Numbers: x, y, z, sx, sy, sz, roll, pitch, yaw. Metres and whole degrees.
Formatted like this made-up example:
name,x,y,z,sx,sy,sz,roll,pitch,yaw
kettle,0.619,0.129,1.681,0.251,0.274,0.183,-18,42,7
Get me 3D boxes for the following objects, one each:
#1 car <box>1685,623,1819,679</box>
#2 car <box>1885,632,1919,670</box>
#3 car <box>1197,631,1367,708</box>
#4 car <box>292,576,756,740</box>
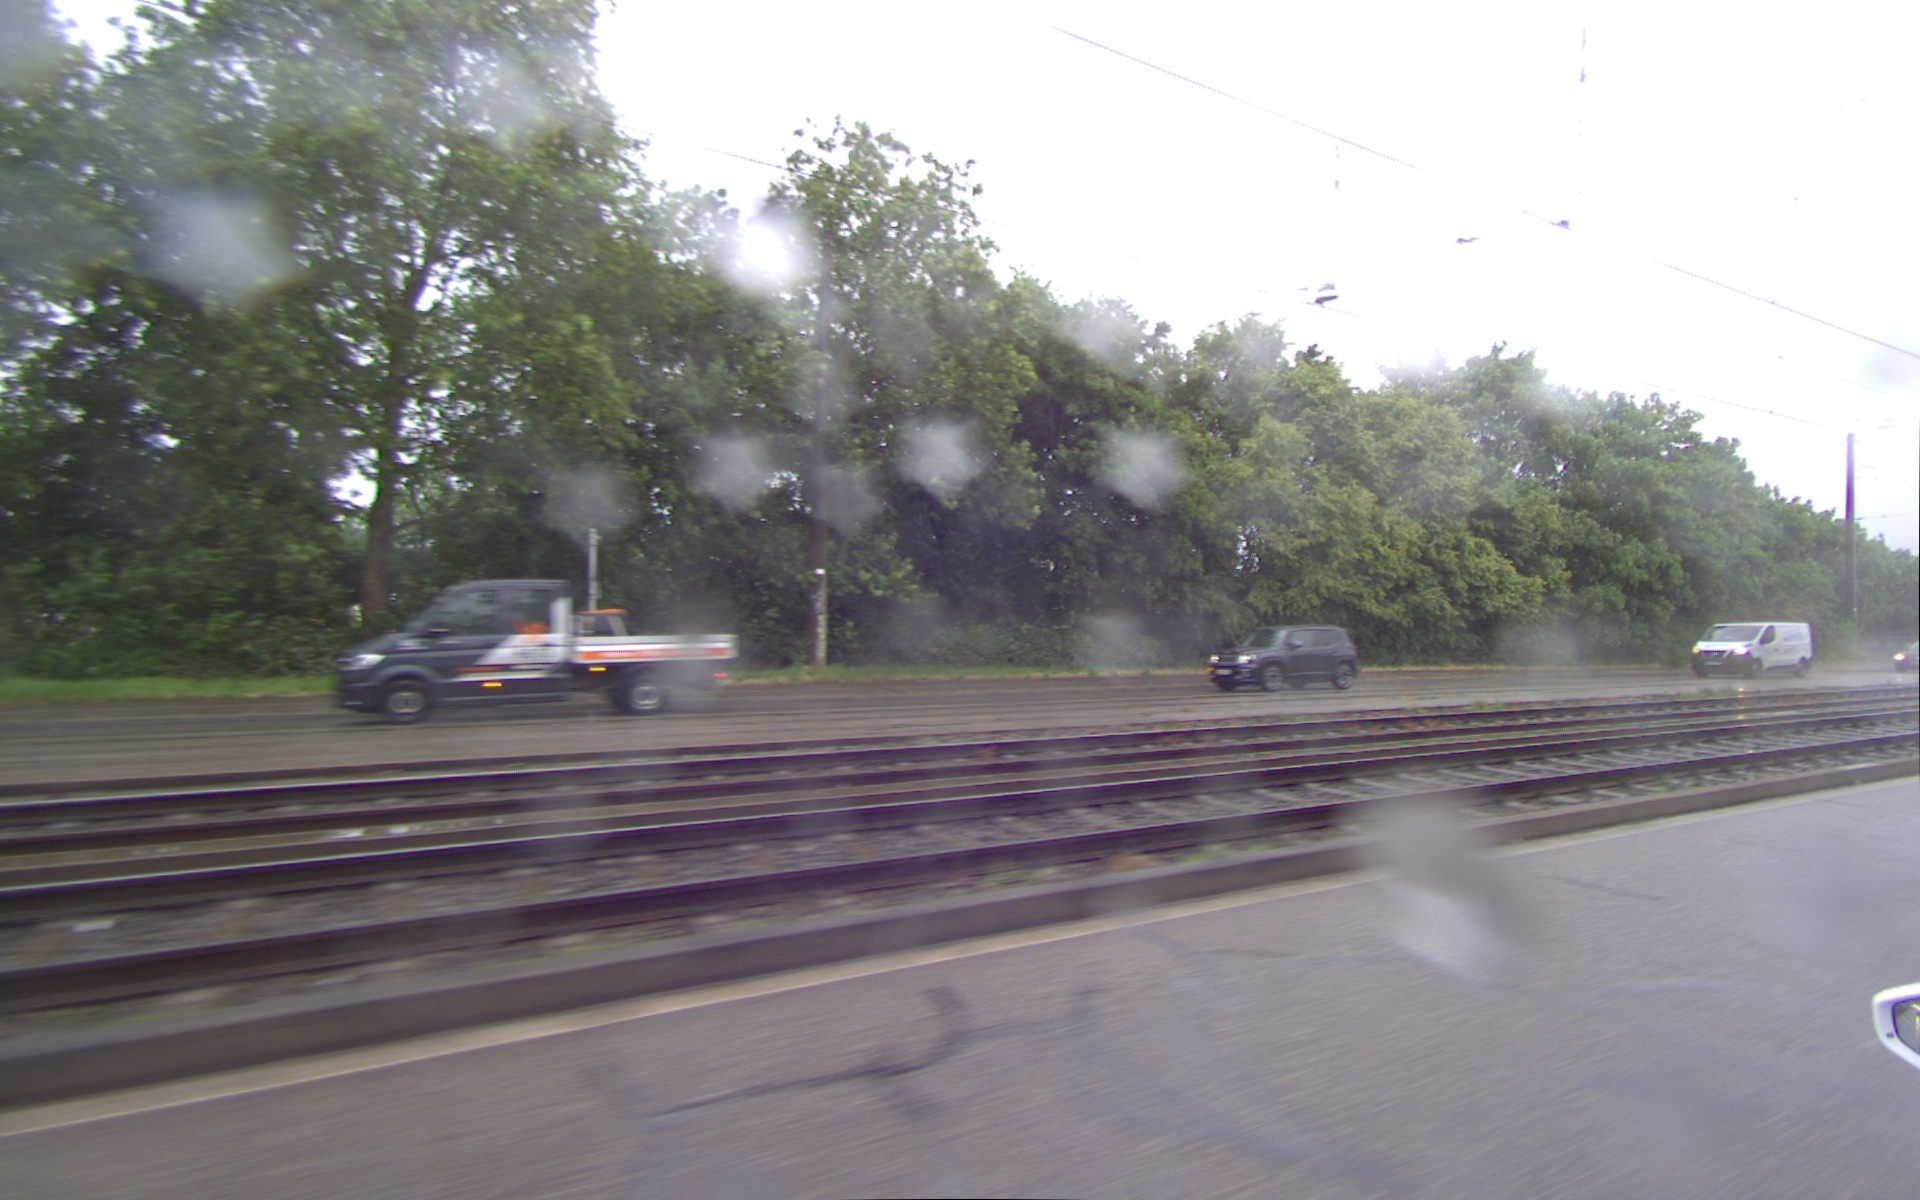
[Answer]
name,x,y,z,sx,sy,sz,roll,pitch,yaw
car,28.465,1.770,36.059,4.924,1.799,2.031,0,1,-29
car,42.385,2.185,43.700,4.552,1.539,1.682,0,1,-27
car,8.314,1.732,25.884,4.109,1.740,1.834,0,1,-27
car,-7.141,0.836,17.122,6.906,2.374,2.089,0,1,-30
